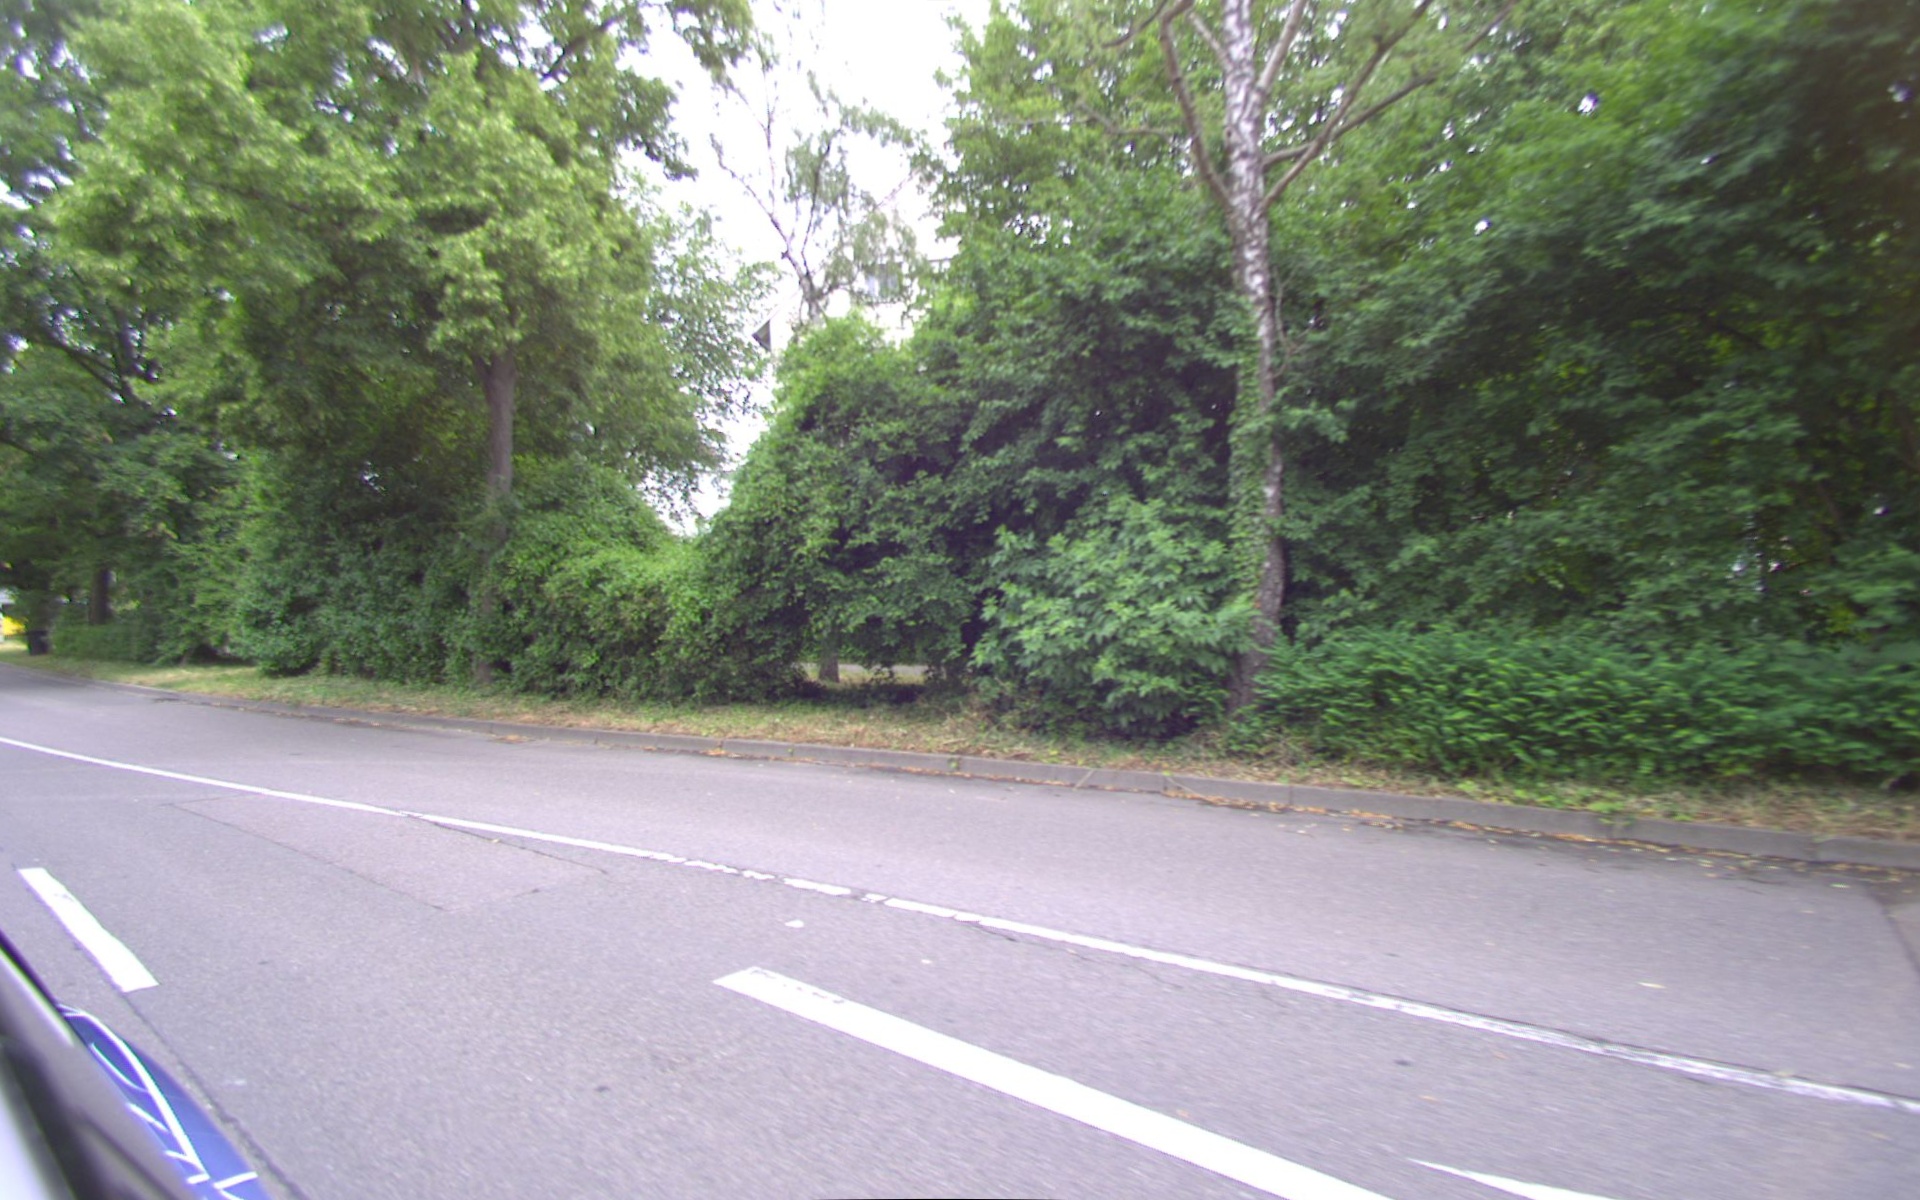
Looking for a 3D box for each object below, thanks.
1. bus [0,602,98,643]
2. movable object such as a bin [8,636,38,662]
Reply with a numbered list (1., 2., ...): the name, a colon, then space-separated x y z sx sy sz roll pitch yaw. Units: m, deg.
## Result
1. bus: -77.766 1.879 85.513 3.007 3.031 8.440 -4 1 -5
2. movable object such as a bin: -33.081 1.711 35.732 0.590 0.851 0.580 -5 2 -28
